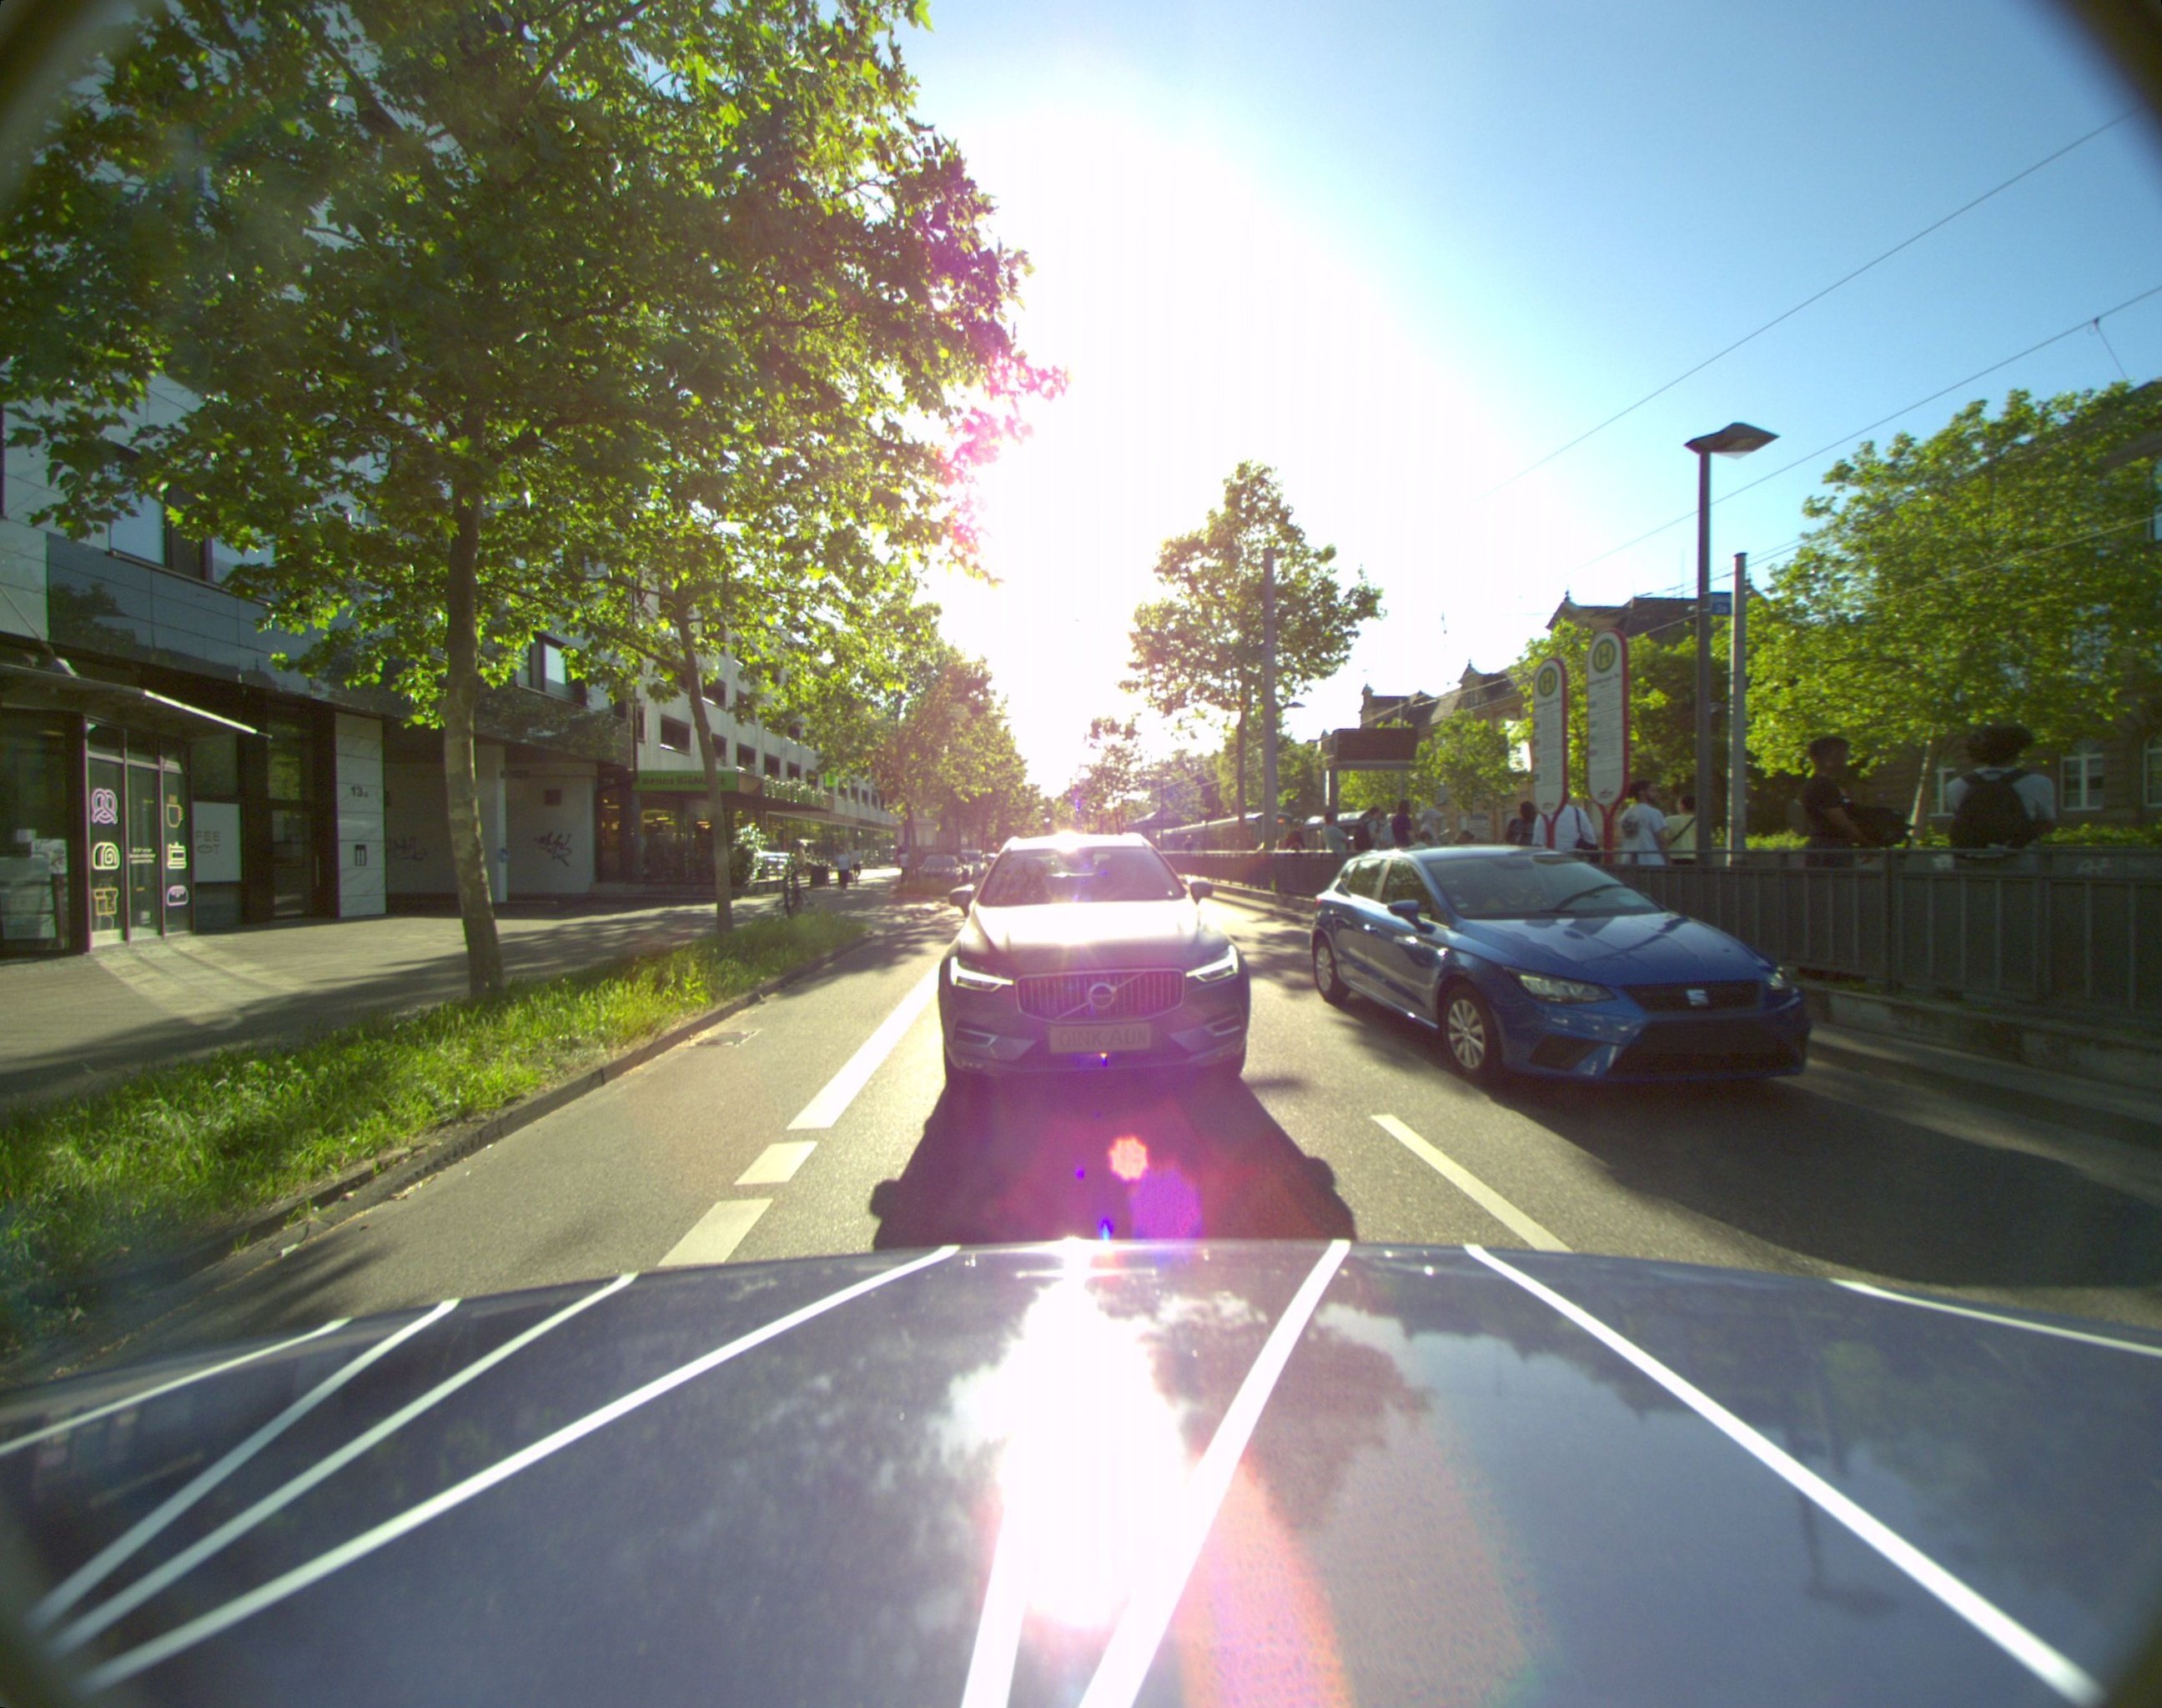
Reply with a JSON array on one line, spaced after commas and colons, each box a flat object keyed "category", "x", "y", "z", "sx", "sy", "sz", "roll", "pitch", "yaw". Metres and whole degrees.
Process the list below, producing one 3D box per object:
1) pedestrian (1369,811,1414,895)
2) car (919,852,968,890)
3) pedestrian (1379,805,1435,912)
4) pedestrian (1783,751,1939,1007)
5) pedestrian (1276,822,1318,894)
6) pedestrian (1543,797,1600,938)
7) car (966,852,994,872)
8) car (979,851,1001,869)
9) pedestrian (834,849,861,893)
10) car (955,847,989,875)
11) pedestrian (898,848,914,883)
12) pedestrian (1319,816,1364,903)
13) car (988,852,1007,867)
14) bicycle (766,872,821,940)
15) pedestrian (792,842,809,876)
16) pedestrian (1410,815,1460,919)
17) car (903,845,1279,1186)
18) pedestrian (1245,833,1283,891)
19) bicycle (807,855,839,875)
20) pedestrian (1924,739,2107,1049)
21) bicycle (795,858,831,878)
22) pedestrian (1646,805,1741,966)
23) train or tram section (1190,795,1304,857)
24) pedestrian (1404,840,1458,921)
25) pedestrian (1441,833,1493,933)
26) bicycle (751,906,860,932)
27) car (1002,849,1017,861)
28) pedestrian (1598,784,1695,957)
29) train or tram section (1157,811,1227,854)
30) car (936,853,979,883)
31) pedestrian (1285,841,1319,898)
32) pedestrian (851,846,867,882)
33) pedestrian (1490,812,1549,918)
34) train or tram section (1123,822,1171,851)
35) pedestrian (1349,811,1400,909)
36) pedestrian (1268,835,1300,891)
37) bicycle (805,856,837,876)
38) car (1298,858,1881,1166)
[{"category": "pedestrian", "x": 6.240, "y": -0.026, "z": 15.297, "sx": 0.620, "sy": 1.640, "sz": 0.622, "roll": 0, "pitch": 1, "yaw": -7}, {"category": "car", "x": -6.038, "y": 0.702, "z": 33.658, "sx": 1.569, "sy": 1.541, "sz": 3.998, "roll": -1, "pitch": 1, "yaw": -3}, {"category": "pedestrian", "x": 5.275, "y": 0.070, "z": 12.315, "sx": 0.662, "sy": 1.686, "sz": 0.570, "roll": 0, "pitch": 1, "yaw": -2}, {"category": "pedestrian", "x": 5.528, "y": 0.168, "z": 5.410, "sx": 0.549, "sy": 1.724, "sz": 0.539, "roll": 0, "pitch": 1, "yaw": -9}, {"category": "pedestrian", "x": 5.340, "y": 0.092, "z": 18.850, "sx": 0.778, "sy": 1.742, "sz": 0.723, "roll": 0, "pitch": 1, "yaw": -7}, {"category": "pedestrian", "x": 6.107, "y": 0.162, "z": 9.488, "sx": 0.506, "sy": 1.692, "sz": 0.612, "roll": 0, "pitch": 1, "yaw": 25}, {"category": "car", "x": -7.426, "y": 0.561, "z": 56.047, "sx": 1.734, "sy": 1.395, "sz": 4.293, "roll": 1, "pitch": 0, "yaw": -4}, {"category": "car", "x": -7.850, "y": 0.524, "z": 65.918, "sx": 1.678, "sy": 1.430, "sz": 3.688, "roll": 2, "pitch": 1, "yaw": -4}, {"category": "pedestrian", "x": -8.607, "y": 0.608, "z": 27.996, "sx": 0.699, "sy": 1.603, "sz": 0.868, "roll": 1, "pitch": 1, "yaw": -1}, {"category": "car", "x": -7.170, "y": 0.439, "z": 50.278, "sx": 1.769, "sy": 1.781, "sz": 4.391, "roll": 0, "pitch": 0, "yaw": -3}, {"category": "pedestrian", "x": -8.461, "y": 0.536, "z": 36.694, "sx": 0.561, "sy": 1.694, "sz": 1.051, "roll": 0, "pitch": 1, "yaw": -3}, {"category": "pedestrian", "x": 4.964, "y": 0.094, "z": 14.505, "sx": 0.662, "sy": 1.624, "sz": 0.570, "roll": 0, "pitch": 1, "yaw": -2}, {"category": "car", "x": -8.350, "y": 0.491, "z": 76.246, "sx": 1.630, "sy": 1.433, "sz": 3.928, "roll": 1, "pitch": 1, "yaw": -3}, {"category": "bicycle", "x": -5.377, "y": 0.939, "z": 14.306, "sx": 0.791, "sy": 1.127, "sz": 1.843, "roll": -1, "pitch": 1, "yaw": -16}, {"category": "pedestrian", "x": -14.473, "y": 0.254, "z": 39.186, "sx": 0.614, "sy": 1.705, "sz": 0.611, "roll": 5, "pitch": -1, "yaw": -28}, {"category": "pedestrian", "x": 5.934, "y": 0.209, "z": 12.762, "sx": 0.516, "sy": 1.698, "sz": 0.621, "roll": 0, "pitch": 1, "yaw": -3}, {"category": "car", "x": -0.045, "y": 0.804, "z": 6.079, "sx": 1.914, "sy": 1.695, "sz": 4.271, "roll": -2, "pitch": 1, "yaw": -3}, {"category": "pedestrian", "x": 4.867, "y": 0.207, "z": 20.280, "sx": 0.778, "sy": 1.501, "sz": 0.751, "roll": 0, "pitch": 1, "yaw": -7}, {"category": "bicycle", "x": -14.608, "y": 0.620, "z": 42.992, "sx": 1.700, "sy": 1.049, "sz": 0.587, "roll": 2, "pitch": 1, "yaw": 24}, {"category": "pedestrian", "x": 5.606, "y": 0.225, "z": 4.595, "sx": 0.538, "sy": 1.724, "sz": 0.550, "roll": 0, "pitch": 1, "yaw": 33}, {"category": "bicycle", "x": -13.295, "y": 0.688, "z": 37.690, "sx": 1.648, "sy": 0.911, "sz": 0.587, "roll": 2, "pitch": -2, "yaw": 24}, {"category": "pedestrian", "x": 6.901, "y": 0.339, "z": 8.587, "sx": 0.555, "sy": 1.760, "sz": 0.611, "roll": 0, "pitch": 1, "yaw": -7}, {"category": "train or tram section", "x": 10.730, "y": -1.665, "z": 52.185, "sx": 2.857, "sy": 3.414, "sz": 18.207, "roll": -2, "pitch": 0, "yaw": -3}, {"category": "pedestrian", "x": 5.276, "y": 0.387, "z": 11.465, "sx": 0.546, "sy": 1.185, "sz": 0.530, "roll": 0, "pitch": 1, "yaw": -3}, {"category": "pedestrian", "x": 5.162, "y": 0.376, "z": 10.174, "sx": 0.417, "sy": 1.308, "sz": 0.507, "roll": 0, "pitch": 1, "yaw": -5}, {"category": "bicycle", "x": -5.218, "y": 1.223, "z": 14.528, "sx": 1.613, "sy": 0.351, "sz": 1.388, "roll": 0, "pitch": 1, "yaw": -3}, {"category": "car", "x": -10.058, "y": 0.149, "z": 107.362, "sx": 1.839, "sy": 1.556, "sz": 4.272, "roll": -2, "pitch": 1, "yaw": -3}, {"category": "pedestrian", "x": 5.771, "y": 0.160, "z": 7.776, "sx": 0.507, "sy": 1.692, "sz": 0.611, "roll": 0, "pitch": 1, "yaw": -7}, {"category": "train or tram section", "x": 9.892, "y": -1.796, "z": 70.400, "sx": 2.879, "sy": 3.414, "sz": 18.269, "roll": -2, "pitch": 0, "yaw": -3}, {"category": "car", "x": -6.538, "y": 0.716, "z": 40.706, "sx": 1.766, "sy": 1.410, "sz": 4.698, "roll": -2, "pitch": 1, "yaw": -4}, {"category": "pedestrian", "x": 4.888, "y": 0.326, "z": 16.809, "sx": 0.535, "sy": 1.239, "sz": 0.604, "roll": 0, "pitch": 1, "yaw": -5}, {"category": "pedestrian", "x": -10.630, "y": 0.474, "z": 36.360, "sx": 0.561, "sy": 1.734, "sz": 0.878, "roll": 0, "pitch": 1, "yaw": -3}, {"category": "pedestrian", "x": 6.412, "y": 0.153, "z": 11.131, "sx": 0.546, "sy": 1.510, "sz": 0.530, "roll": 0, "pitch": 1, "yaw": -3}, {"category": "train or tram section", "x": 6.135, "y": -1.562, "z": 73.064, "sx": 2.570, "sy": 2.517, "sz": 15.066, "roll": -1, "pitch": 1, "yaw": -3}, {"category": "pedestrian", "x": 5.175, "y": 0.108, "z": 13.424, "sx": 0.662, "sy": 1.686, "sz": 0.570, "roll": 0, "pitch": 1, "yaw": -2}, {"category": "pedestrian", "x": 4.779, "y": 0.202, "z": 17.882, "sx": 0.535, "sy": 1.292, "sz": 0.604, "roll": 0, "pitch": 1, "yaw": -7}, {"category": "bicycle", "x": -14.341, "y": 0.659, "z": 41.955, "sx": 1.700, "sy": 1.049, "sz": 0.587, "roll": 2, "pitch": -1, "yaw": 24}, {"category": "car", "x": 3.091, "y": 0.793, "z": 5.712, "sx": 1.707, "sy": 1.407, "sz": 3.874, "roll": -2, "pitch": 1, "yaw": -1}]
